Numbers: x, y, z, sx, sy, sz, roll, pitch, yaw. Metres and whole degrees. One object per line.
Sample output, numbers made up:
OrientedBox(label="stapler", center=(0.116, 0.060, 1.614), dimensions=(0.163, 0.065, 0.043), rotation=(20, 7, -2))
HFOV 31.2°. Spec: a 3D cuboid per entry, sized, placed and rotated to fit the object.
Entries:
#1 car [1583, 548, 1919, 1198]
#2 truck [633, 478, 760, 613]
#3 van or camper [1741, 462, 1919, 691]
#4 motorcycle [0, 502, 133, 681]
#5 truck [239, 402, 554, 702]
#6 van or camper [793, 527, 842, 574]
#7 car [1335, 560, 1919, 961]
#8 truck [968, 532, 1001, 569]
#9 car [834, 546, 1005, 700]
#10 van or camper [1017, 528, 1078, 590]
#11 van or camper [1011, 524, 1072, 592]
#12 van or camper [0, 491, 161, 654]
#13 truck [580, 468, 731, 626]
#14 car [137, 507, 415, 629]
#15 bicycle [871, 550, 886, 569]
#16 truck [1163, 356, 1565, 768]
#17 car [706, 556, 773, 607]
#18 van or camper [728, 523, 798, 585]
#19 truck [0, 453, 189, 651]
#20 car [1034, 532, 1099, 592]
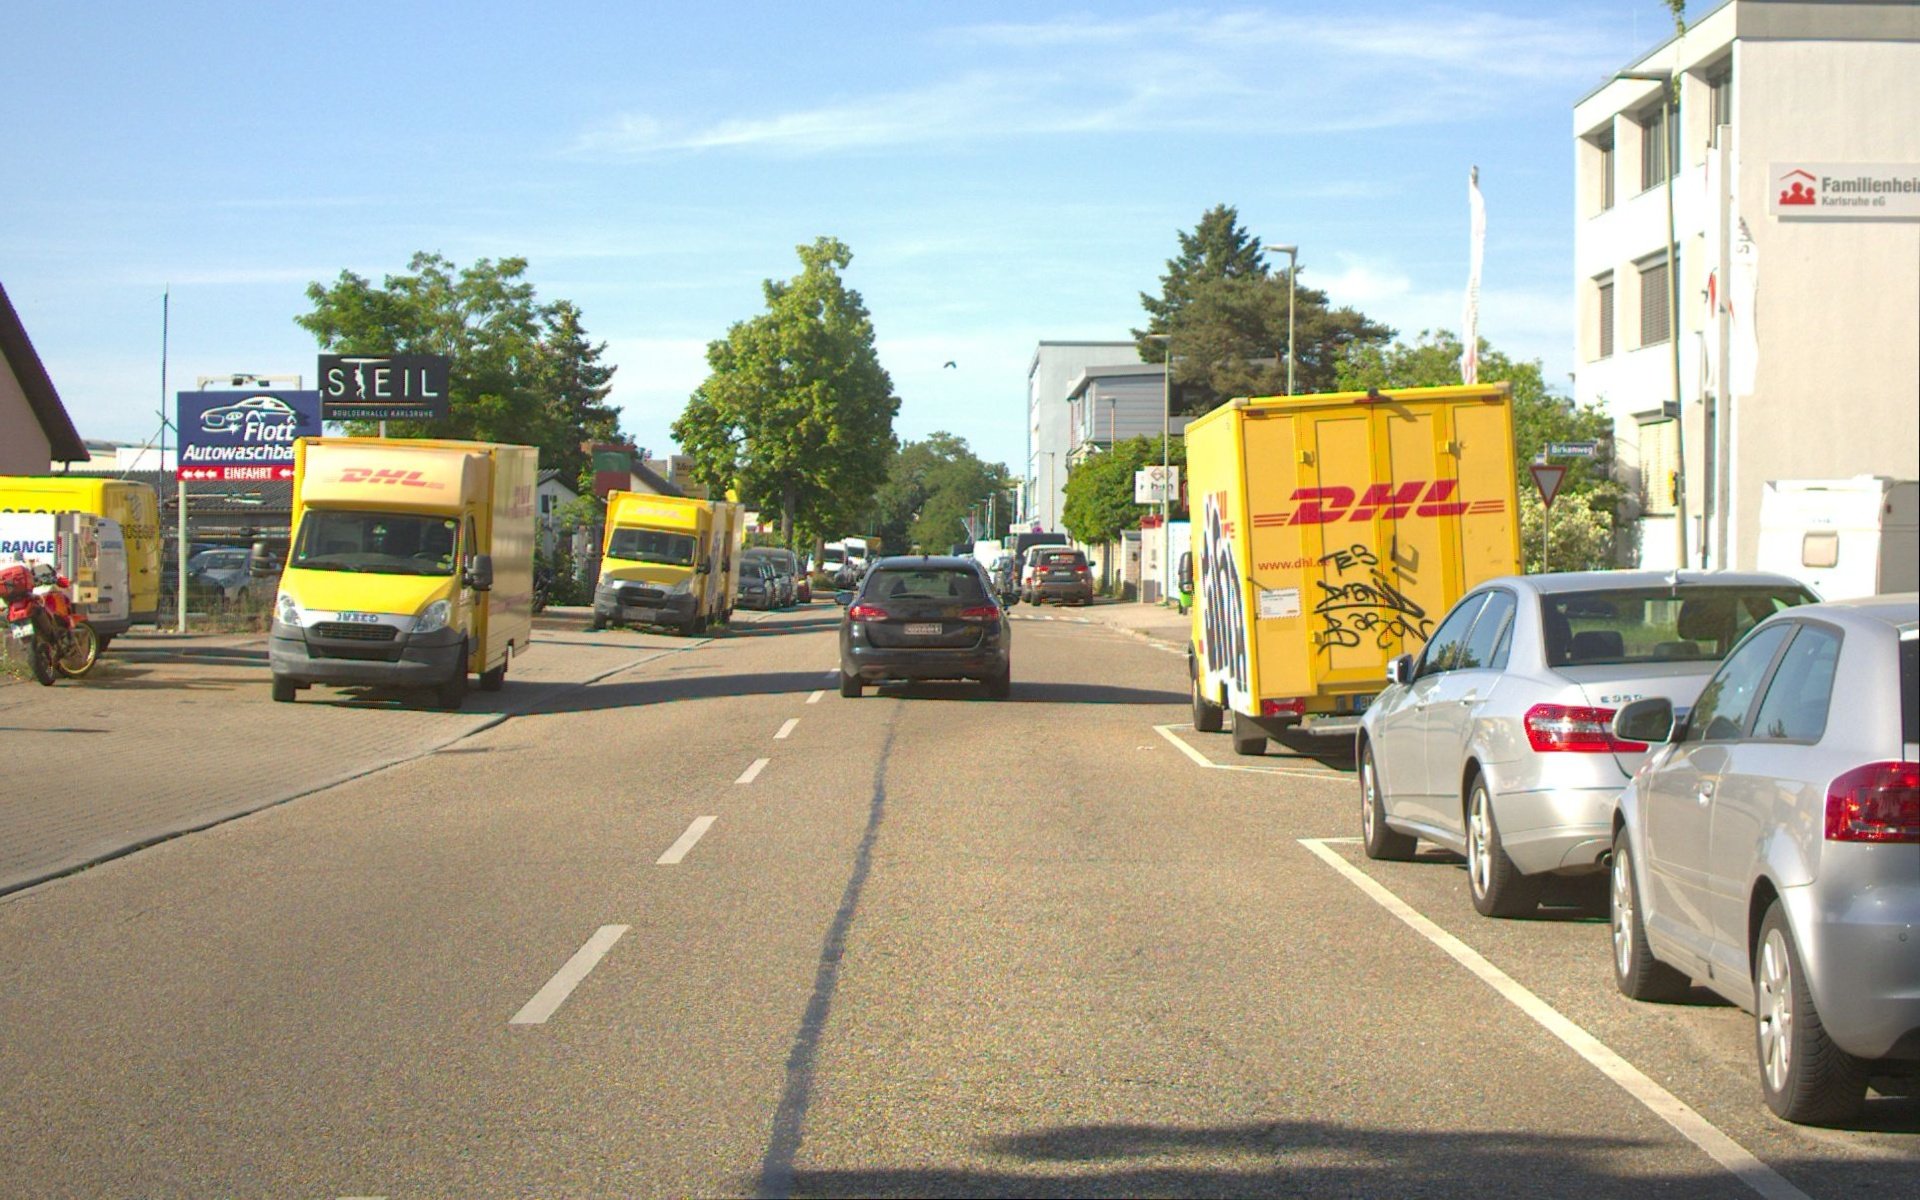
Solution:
OrientedBox(label="car", center=(2.959, 0.636, 10.216), dimensions=(1.674, 1.537, 4.043), rotation=(1, 1, 3))
OrientedBox(label="truck", center=(-5.987, -1.258, 78.920), dimensions=(2.193, 2.892, 6.439), rotation=(2, 1, 1))
OrientedBox(label="van or camper", center=(12.263, -0.285, 40.355), dimensions=(5.812, 2.532, 2.290), rotation=(0, 1, -24))
OrientedBox(label="motorcycle", center=(-10.101, -0.136, 38.250), dimensions=(0.781, 1.866, 3.040), rotation=(4, 2, 4))
OrientedBox(label="truck", center=(-6.165, -0.541, 38.642), dimensions=(2.402, 2.973, 7.246), rotation=(2, 1, -1))
OrientedBox(label="van or camper", center=(-7.470, -2.597, 179.523), dimensions=(2.323, 2.354, 6.529), rotation=(0, 1, -4))
OrientedBox(label="car", center=(3.003, 0.612, 15.834), dimensions=(1.783, 1.537, 4.538), rotation=(0, 1, -4))
OrientedBox(label="truck", center=(1.516, -3.088, 213.459), dimensions=(1.993, 2.280, 6.956), rotation=(1, 1, 0))
OrientedBox(label="car", center=(-0.385, 0.206, 36.473), dimensions=(1.712, 1.527, 3.687), rotation=(0, 1, 1))
OrientedBox(label="van or camper", center=(2.891, -1.372, 113.997), dimensions=(1.919, 2.012, 4.080), rotation=(1, 1, 0))
OrientedBox(label="van or camper", center=(2.808, -1.475, 119.590), dimensions=(1.993, 2.302, 4.000), rotation=(1, 1, 0))
OrientedBox(label="van or camper", center=(-12.799, -0.375, 43.951), dimensions=(4.544, 2.007, 2.250), rotation=(0, 1, 7))
OrientedBox(label="truck", center=(-6.139, -1.076, 70.092), dimensions=(2.403, 2.973, 6.374), rotation=(2, 1, 0))
OrientedBox(label="car", center=(-11.580, -0.558, 58.335), dimensions=(4.249, 2.007, 1.868), rotation=(0, 1, 8))
OrientedBox(label="bicycle", center=(-4.854, -2.413, 204.647), dimensions=(0.829, 1.149, 2.941), rotation=(0, 1, -2))
OrientedBox(label="truck", center=(3.148, -0.322, 28.539), dimensions=(2.402, 2.926, 7.016), rotation=(-2, 1, 0))
OrientedBox(label="car", center=(-6.326, -0.551, 98.923), dimensions=(1.756, 1.398, 4.558), rotation=(0, 1, -2))
OrientedBox(label="van or camper", center=(-6.210, -1.445, 108.737), dimensions=(1.891, 1.919, 4.266), rotation=(0, 0, 1))
OrientedBox(label="truck", center=(-13.773, -0.733, 46.865), dimensions=(5.924, 2.559, 2.223), rotation=(2, 1, 12))
OrientedBox(label="car", center=(3.351, -1.212, 108.723), dimensions=(1.919, 1.819, 4.080), rotation=(1, 1, 0))
